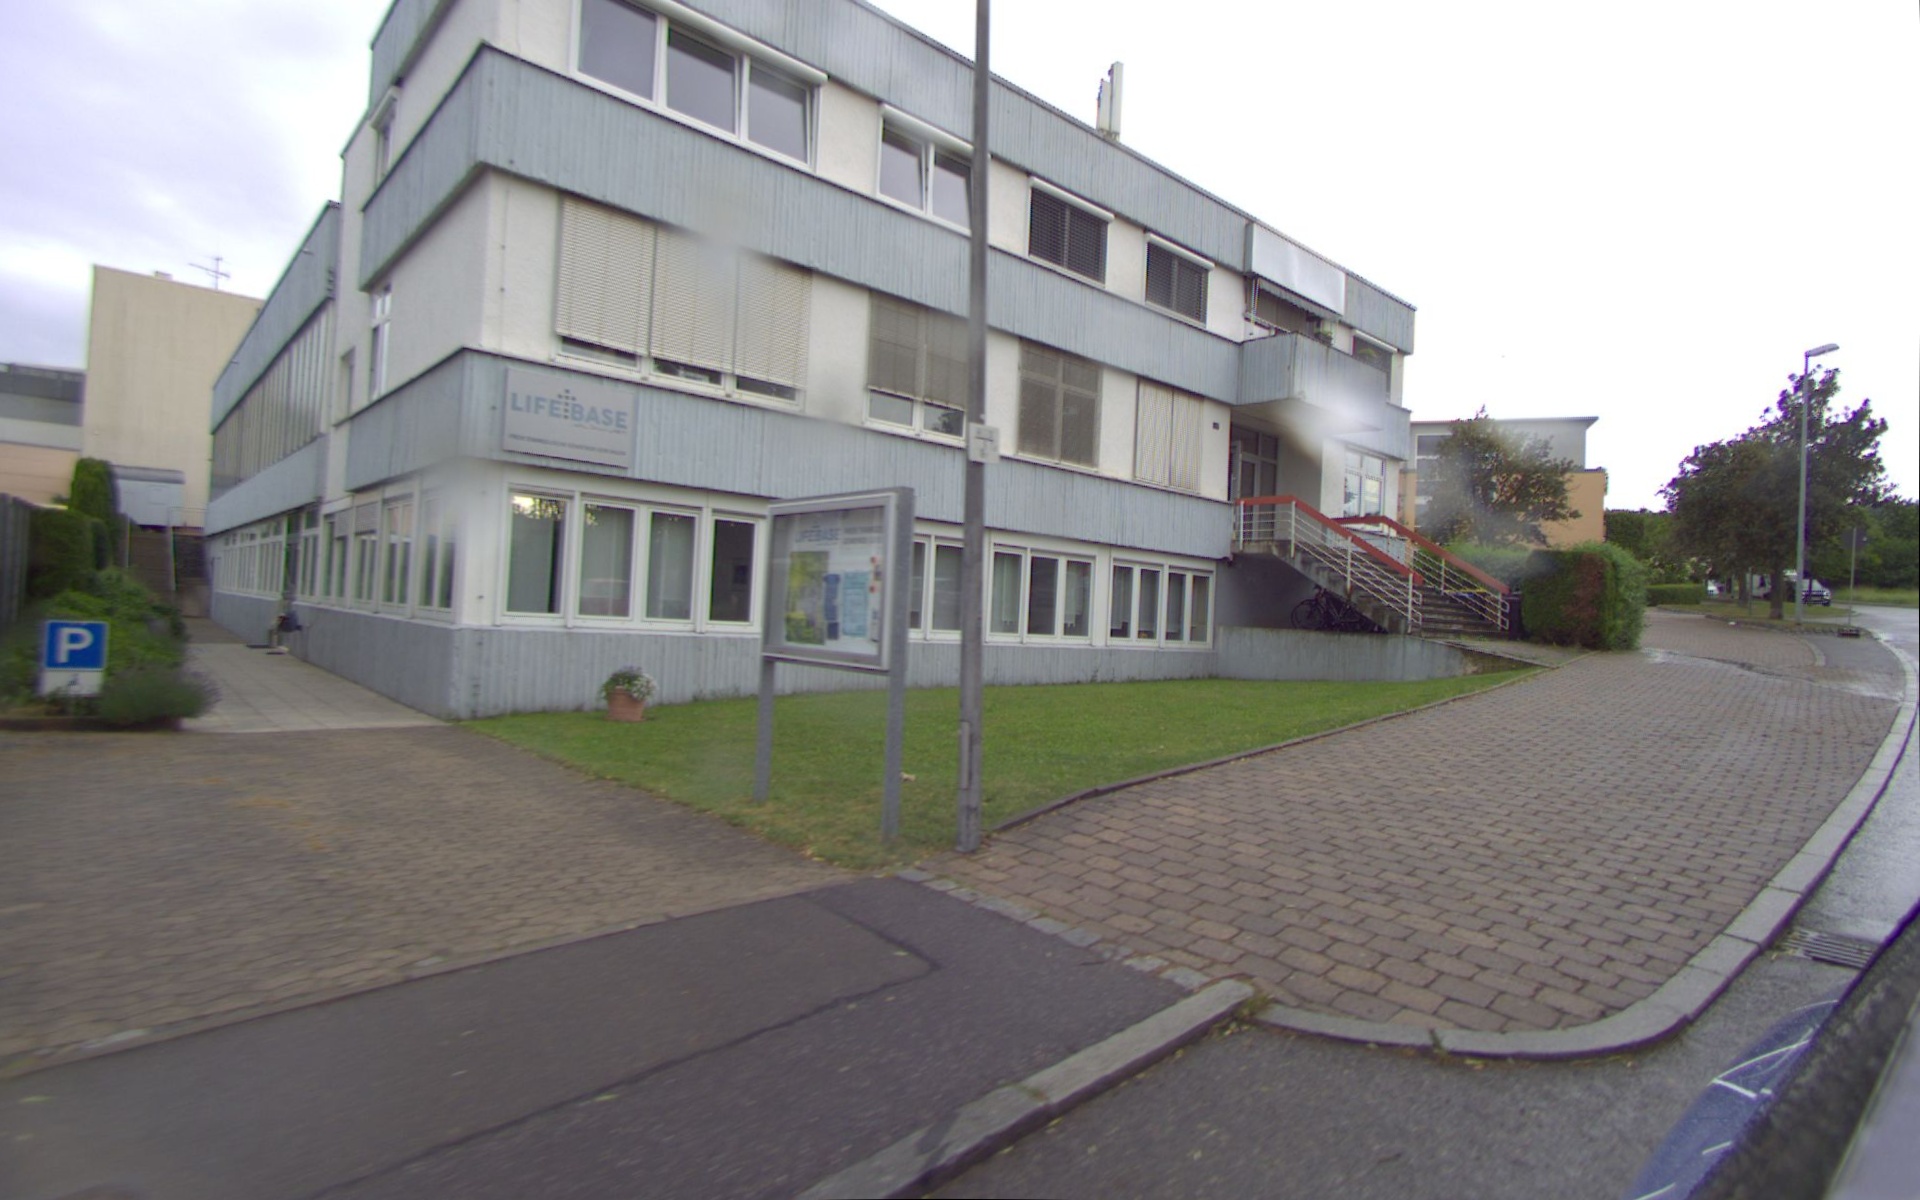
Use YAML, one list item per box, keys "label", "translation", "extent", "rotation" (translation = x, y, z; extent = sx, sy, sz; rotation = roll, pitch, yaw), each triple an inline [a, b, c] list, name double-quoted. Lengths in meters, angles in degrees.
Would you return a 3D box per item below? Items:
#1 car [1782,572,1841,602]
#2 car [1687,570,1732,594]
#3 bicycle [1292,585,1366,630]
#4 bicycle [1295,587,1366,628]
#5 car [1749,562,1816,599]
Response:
- label: "car"
  translation: [52.481, -0.832, 62.467]
  extent: [1.800, 1.748, 4.608]
  rotation: [1, 2, 28]
- label: "car"
  translation: [60.428, -1.500, 81.675]
  extent: [1.802, 1.807, 3.797]
  rotation: [1, 3, 19]
- label: "bicycle"
  translation: [7.908, 0.151, 21.707]
  extent: [1.456, 0.913, 0.283]
  rotation: [1, 1, 26]
- label: "bicycle"
  translation: [8.039, 0.155, 21.975]
  extent: [1.407, 0.840, 0.283]
  rotation: [1, 1, 26]
- label: "car"
  translation: [55.041, -1.349, 67.858]
  extent: [2.031, 2.360, 5.365]
  rotation: [1, 1, 23]
